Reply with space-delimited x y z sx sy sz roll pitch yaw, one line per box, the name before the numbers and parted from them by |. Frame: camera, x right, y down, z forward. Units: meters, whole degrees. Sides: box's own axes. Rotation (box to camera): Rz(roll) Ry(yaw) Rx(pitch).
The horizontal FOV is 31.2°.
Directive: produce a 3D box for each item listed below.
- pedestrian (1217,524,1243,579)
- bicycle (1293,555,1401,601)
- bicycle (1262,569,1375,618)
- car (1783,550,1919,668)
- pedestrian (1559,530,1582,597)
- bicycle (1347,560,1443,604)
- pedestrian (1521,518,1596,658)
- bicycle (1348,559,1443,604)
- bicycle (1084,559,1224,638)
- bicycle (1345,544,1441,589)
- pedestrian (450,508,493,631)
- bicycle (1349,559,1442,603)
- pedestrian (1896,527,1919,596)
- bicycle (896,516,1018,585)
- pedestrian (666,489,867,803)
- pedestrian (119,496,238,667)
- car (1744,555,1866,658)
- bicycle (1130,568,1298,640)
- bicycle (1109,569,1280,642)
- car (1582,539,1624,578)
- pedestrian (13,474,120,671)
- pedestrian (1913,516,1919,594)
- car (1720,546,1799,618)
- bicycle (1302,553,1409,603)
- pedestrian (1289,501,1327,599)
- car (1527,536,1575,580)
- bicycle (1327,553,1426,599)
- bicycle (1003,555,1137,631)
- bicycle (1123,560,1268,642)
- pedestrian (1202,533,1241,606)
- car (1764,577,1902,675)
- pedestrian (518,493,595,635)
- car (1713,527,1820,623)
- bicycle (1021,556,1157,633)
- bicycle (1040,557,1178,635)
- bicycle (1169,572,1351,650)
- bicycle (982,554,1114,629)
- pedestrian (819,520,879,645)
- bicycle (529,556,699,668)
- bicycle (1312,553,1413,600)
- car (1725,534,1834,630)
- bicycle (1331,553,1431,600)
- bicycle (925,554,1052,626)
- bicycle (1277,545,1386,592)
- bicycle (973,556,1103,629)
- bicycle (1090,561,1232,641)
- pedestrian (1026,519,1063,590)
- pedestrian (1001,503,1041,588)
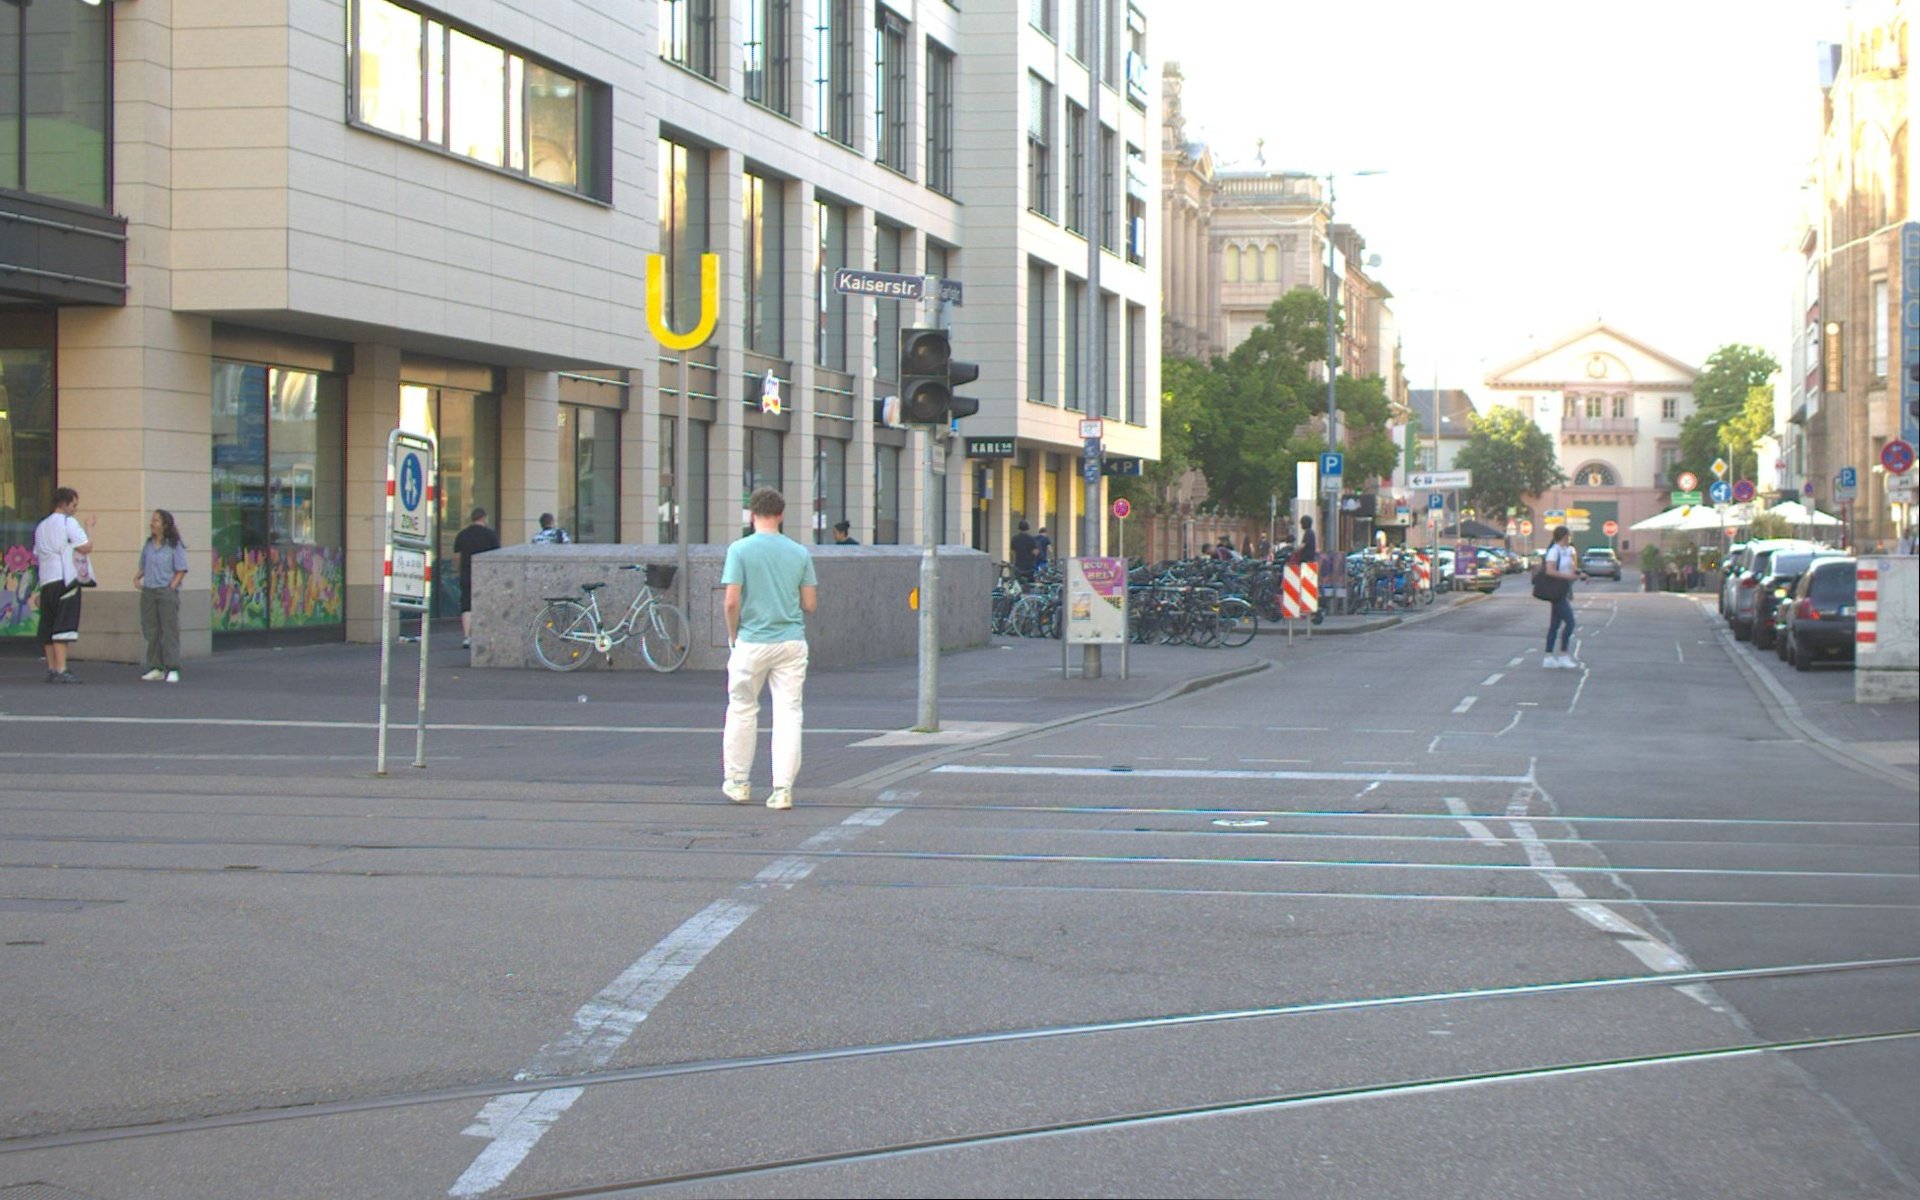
pedestrian | 7.877 -1.413 100.375 0.680 1.615 0.573 0 1 11
bicycle | 7.967 -0.456 70.770 2.149 0.950 0.640 0 1 14
bicycle | 7.100 -0.133 68.064 2.149 0.950 0.640 0 1 14
car | 11.477 0.083 43.962 1.679 1.419 3.671 1 1 11
pedestrian | 16.651 -1.006 93.775 0.599 1.817 0.452 0 1 12
bicycle | 10.112 -0.421 79.910 2.149 1.026 0.640 0 1 14
pedestrian | 7.364 -0.152 42.349 0.834 1.715 0.682 0 1 4
bicycle | 10.259 -0.437 80.936 2.149 1.026 0.640 0 1 14
bicycle | 2.869 -0.028 50.821 1.966 1.118 0.558 1 1 -17
bicycle | 9.972 -0.765 79.148 2.149 1.026 0.640 0 1 14
pedestrian | -6.040 -0.385 42.516 0.390 1.510 0.505 0 1 10
bicycle | 10.346 -0.449 81.659 2.149 1.026 0.640 0 1 14
pedestrian | 24.036 -0.974 86.971 0.644 1.740 0.671 0 1 10
bicycle | -0.054 -0.839 58.239 1.966 1.118 0.558 1 1 -17
pedestrian | -1.118 0.252 19.957 0.866 1.755 0.767 2 1 24
pedestrian | -7.715 -0.185 33.961 0.767 1.654 0.815 2 1 25
car | 13.325 0.078 54.370 1.679 1.542 3.671 -1 1 11
bicycle | 4.545 0.066 61.583 2.886 1.251 0.804 0 1 -14
bicycle | 4.104 0.082 60.171 2.886 1.251 0.804 0 1 -14
car | 32.830 -2.134 175.425 1.994 1.897 3.998 2 1 11
pedestrian | -8.541 -0.269 32.888 0.573 1.848 0.815 2 1 24
pedestrian | 22.229 -1.035 78.867 0.644 1.794 0.671 0 1 10
car | 19.060 -0.437 82.065 1.679 1.660 3.671 -1 1 11
bicycle | 8.251 -0.466 71.664 2.149 1.026 0.640 0 1 14
pedestrian | 6.508 -0.940 64.268 0.657 1.817 0.528 0 1 1
car | 26.724 -1.904 155.444 1.994 1.897 3.998 2 1 11
bicycle | 9.350 -0.545 77.212 2.149 1.026 0.640 0 1 14
bicycle | 1.701 -0.106 53.206 1.966 1.118 0.558 1 1 -17
bicycle | 3.376 0.018 49.216 1.966 1.118 0.558 1 1 -17
pedestrian | 5.506 -0.637 72.307 0.752 1.524 0.485 0 1 11
car | 12.464 0.349 49.241 1.679 1.286 4.045 -1 1 11
pedestrian | -5.047 -0.449 42.995 0.782 1.745 0.600 2 1 9
car | 15.407 -0.489 65.814 1.800 1.762 4.396 -1 1 11
bicycle | 1.975 -0.085 52.535 1.966 1.118 0.558 1 1 -17
bicycle | 2.246 -0.064 51.823 1.966 1.118 0.558 1 1 -17
bicycle | 4.944 0.173 56.654 2.886 1.251 0.804 0 1 -14
bicycle | 1.378 -0.128 53.918 1.966 1.118 0.558 1 1 -17
pedestrian | -1.513 -0.246 47.027 0.681 1.675 0.600 2 1 9
bicycle | -3.634 0.119 36.128 1.697 1.118 0.450 2 1 14
bicycle | 8.876 -0.529 75.759 2.149 1.026 0.640 0 1 14
car | 14.358 -0.338 60.386 1.679 1.608 4.026 -1 1 11
bicycle | 9.370 -0.530 76.463 2.149 1.026 0.640 0 1 14
bicycle | 0.469 -0.165 56.309 1.966 1.118 0.558 1 1 -17
bicycle | 7.571 -0.648 70.030 2.149 0.950 0.640 0 1 14
bicycle | 1.248 -0.120 55.076 1.966 1.118 0.558 1 1 -17
bicycle | 2.923 0.012 50.091 1.966 1.118 0.558 1 1 -17
pedestrian | 1.944 -1.049 78.958 0.731 1.615 0.661 0 1 11
pedestrian | 1.169 -1.049 66.114 0.680 1.615 0.573 0 1 11
